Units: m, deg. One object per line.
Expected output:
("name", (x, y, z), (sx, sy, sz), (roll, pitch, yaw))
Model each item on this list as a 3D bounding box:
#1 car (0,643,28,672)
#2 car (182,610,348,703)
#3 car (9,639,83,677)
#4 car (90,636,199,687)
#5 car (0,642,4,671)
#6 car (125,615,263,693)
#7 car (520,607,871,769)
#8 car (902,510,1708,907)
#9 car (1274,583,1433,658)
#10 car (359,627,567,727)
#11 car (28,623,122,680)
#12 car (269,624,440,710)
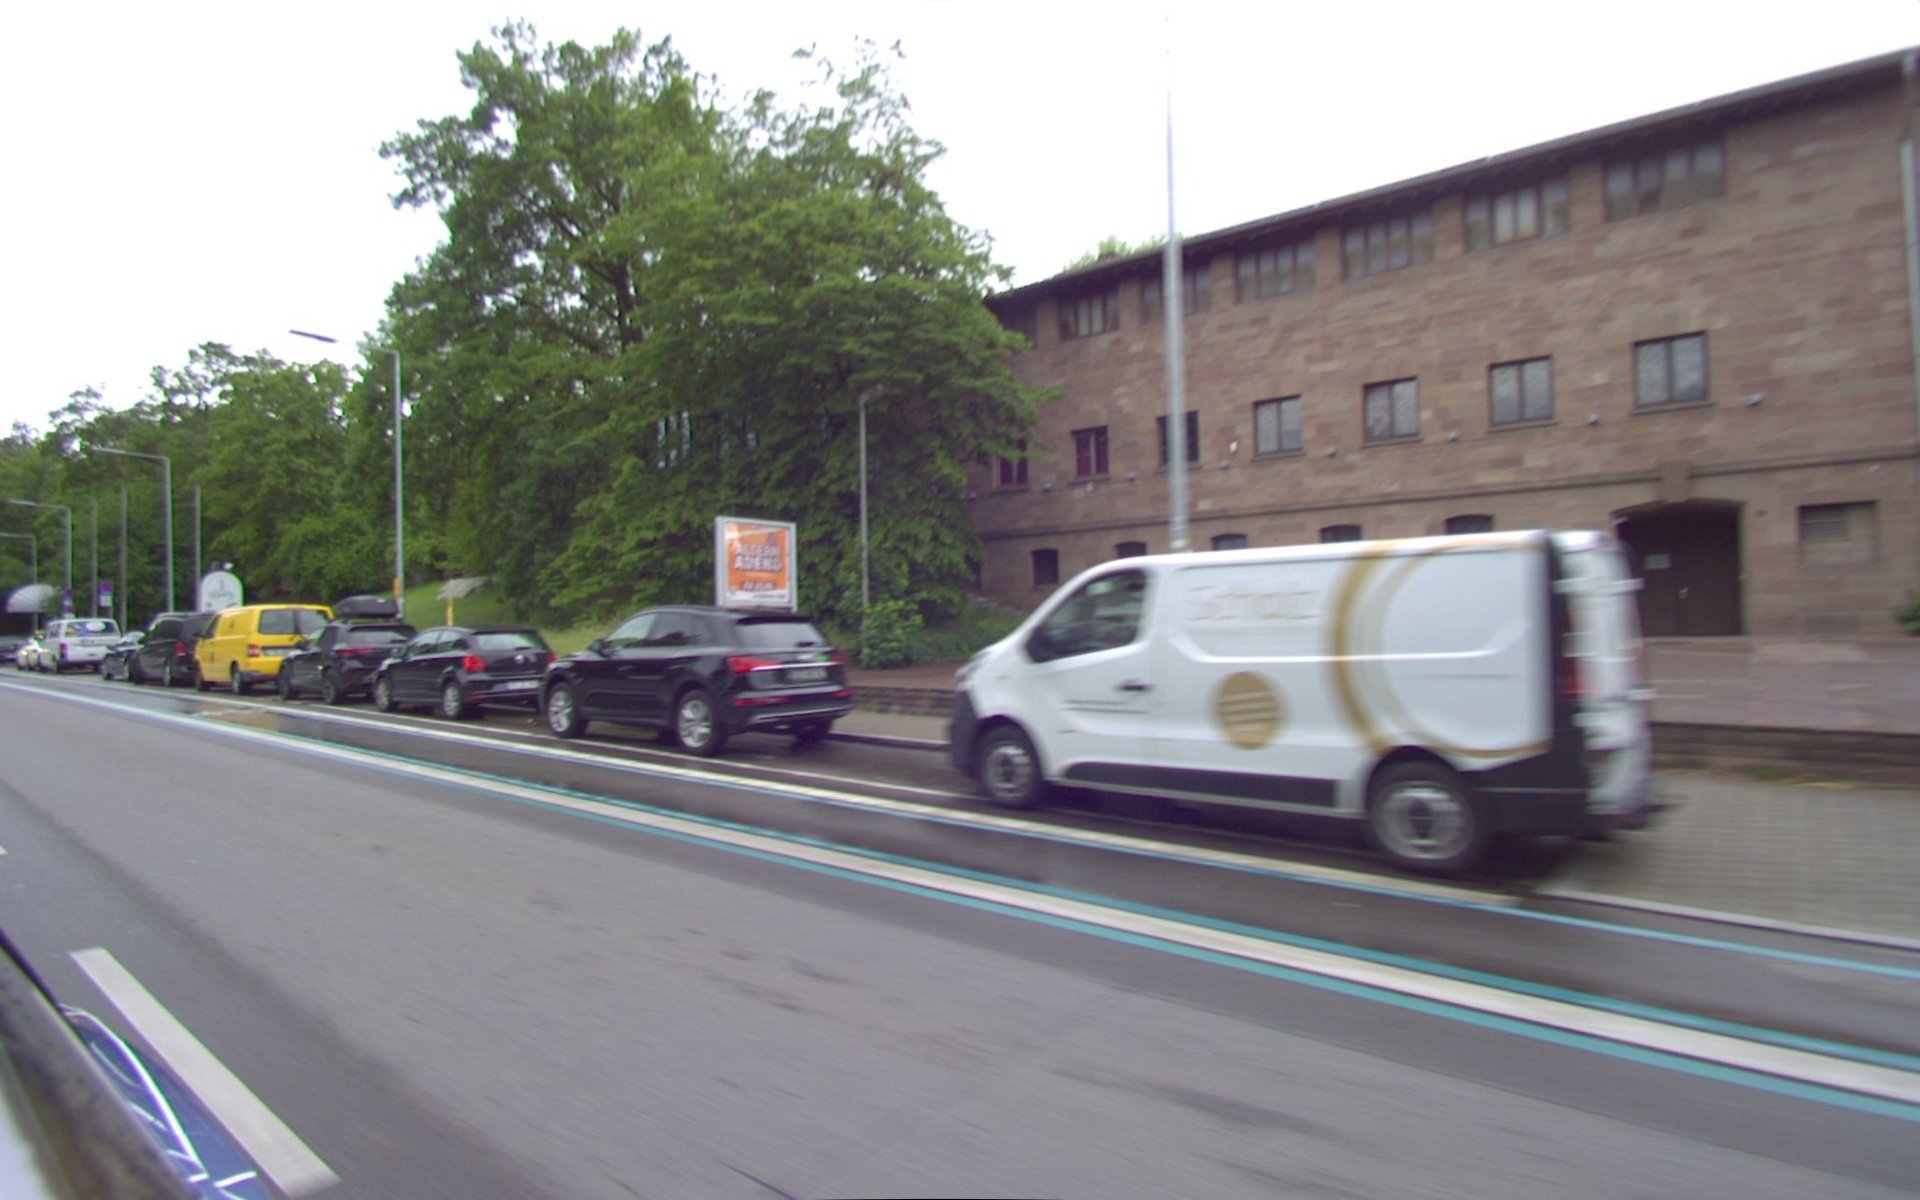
("car", (-46.975, 2.818, 49.481), (3.583, 1.382, 1.658), (-2, -3, 40))
("car", (-16.186, 1.263, 23.475), (4.840, 1.928, 1.973), (-2, -2, 40))
("car", (-37.653, 2.373, 41.671), (4.592, 1.459, 1.709), (-2, -3, 41))
("car", (-25.214, 1.859, 31.226), (4.606, 1.470, 1.667), (-2, -3, 39))
("car", (-52.229, 3.002, 53.533), (4.322, 1.479, 1.773), (-2, -3, 38))
("car", (-20.865, 1.453, 27.495), (5.199, 1.935, 1.858), (-2, -3, 40))
("car", (-3.385, 0.979, 12.425), (4.658, 1.628, 1.806), (-2, -3, 40))
("car", (2.107, 0.608, 7.431), (5.226, 1.929, 1.957), (-3, -2, 43))
("car", (8.904, 0.411, 22.682), (2.259, 1.443, 4.264), (-1, 1, 36))
("car", (-8.255, 1.198, 16.672), (4.034, 1.457, 1.591), (-2, -3, 40))
("car", (-33.078, 1.911, 37.799), (4.730, 1.992, 1.854), (-2, -3, 39))
("car", (-11.906, 1.255, 19.811), (4.148, 1.516, 1.691), (-2, -3, 41))
